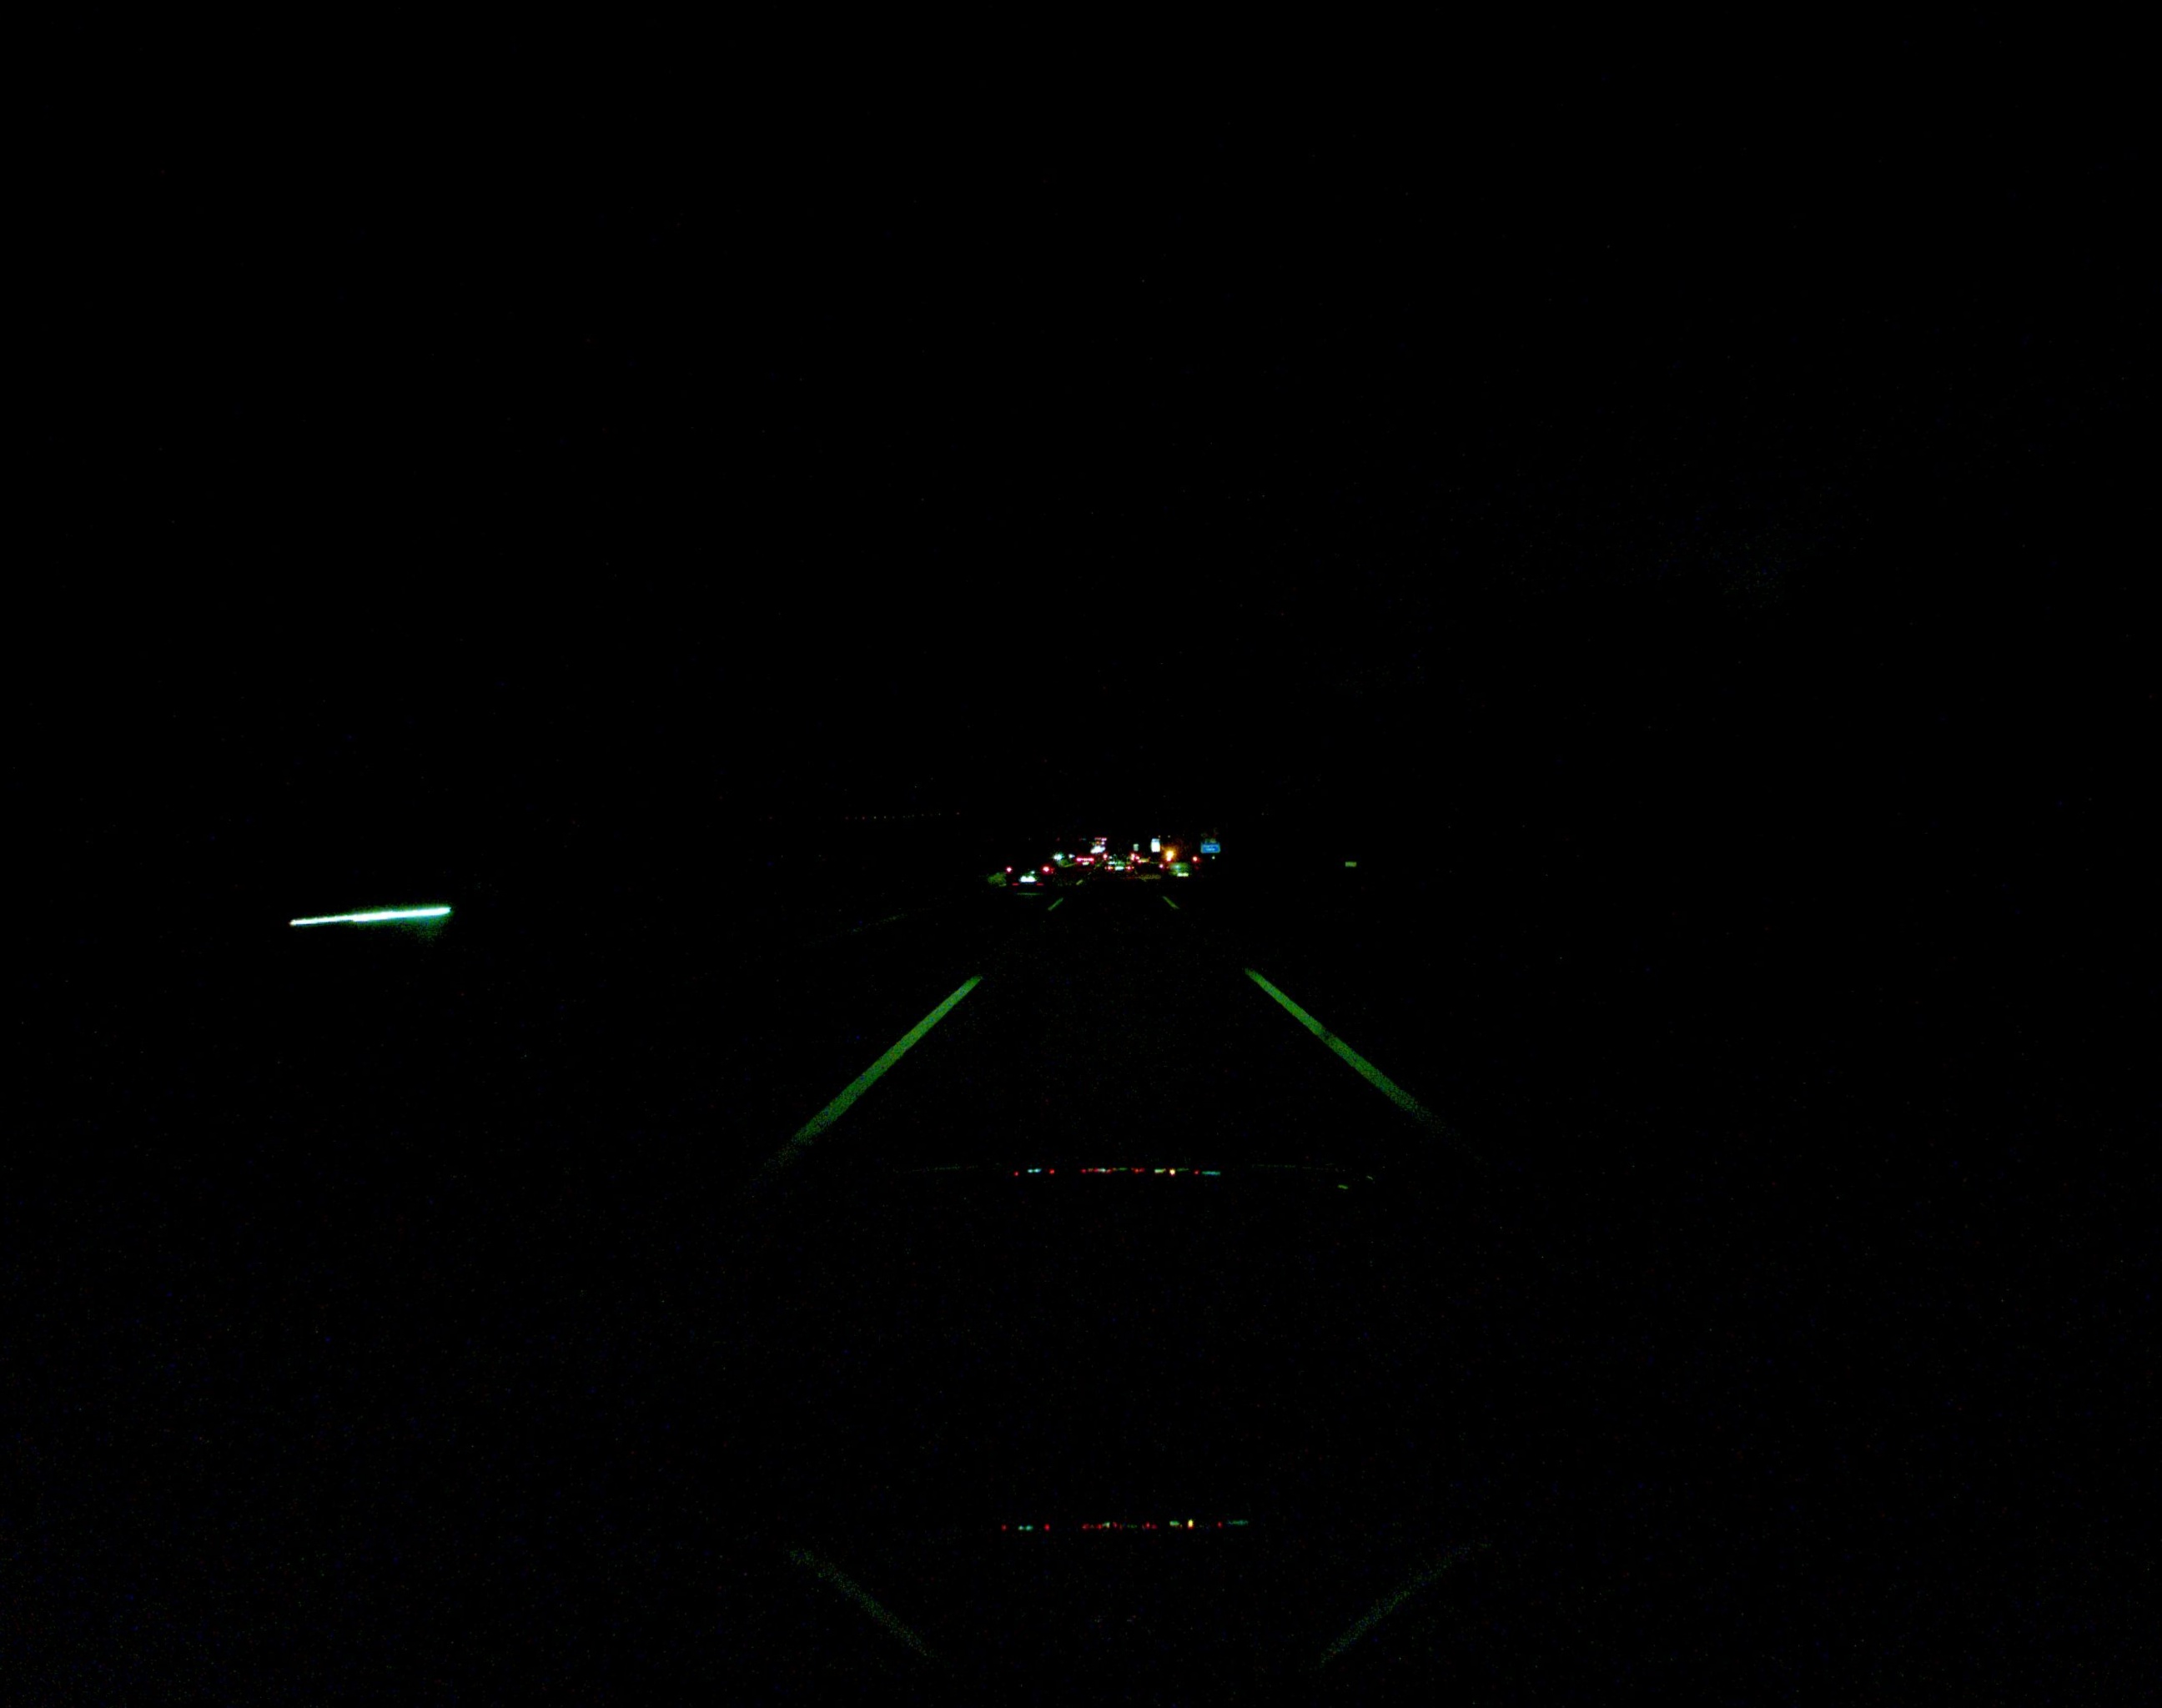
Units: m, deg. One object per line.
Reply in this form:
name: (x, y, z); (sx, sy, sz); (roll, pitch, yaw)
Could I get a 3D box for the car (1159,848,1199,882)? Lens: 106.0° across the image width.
car: (4.974, 0.542, 41.859); (1.640, 1.596, 4.511); (-1, 0, 1)

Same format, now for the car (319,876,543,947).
car: (-17.974, 1.505, 22.968); (1.956, 1.538, 5.188); (-2, 0, 2)

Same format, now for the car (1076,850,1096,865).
car: (0.533, 0.343, 82.112); (1.738, 1.440, 4.370); (-2, 0, 2)

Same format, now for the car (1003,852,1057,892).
car: (-2.008, 0.690, 32.904); (1.786, 1.469, 3.775); (-1, 0, 2)

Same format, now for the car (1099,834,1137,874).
car: (2.526, -0.028, 55.162); (2.342, 2.535, 5.704); (-2, 0, 2)

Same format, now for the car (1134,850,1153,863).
car: (7.528, 0.294, 98.304); (2.154, 1.563, 4.726); (-1, 0, 2)
